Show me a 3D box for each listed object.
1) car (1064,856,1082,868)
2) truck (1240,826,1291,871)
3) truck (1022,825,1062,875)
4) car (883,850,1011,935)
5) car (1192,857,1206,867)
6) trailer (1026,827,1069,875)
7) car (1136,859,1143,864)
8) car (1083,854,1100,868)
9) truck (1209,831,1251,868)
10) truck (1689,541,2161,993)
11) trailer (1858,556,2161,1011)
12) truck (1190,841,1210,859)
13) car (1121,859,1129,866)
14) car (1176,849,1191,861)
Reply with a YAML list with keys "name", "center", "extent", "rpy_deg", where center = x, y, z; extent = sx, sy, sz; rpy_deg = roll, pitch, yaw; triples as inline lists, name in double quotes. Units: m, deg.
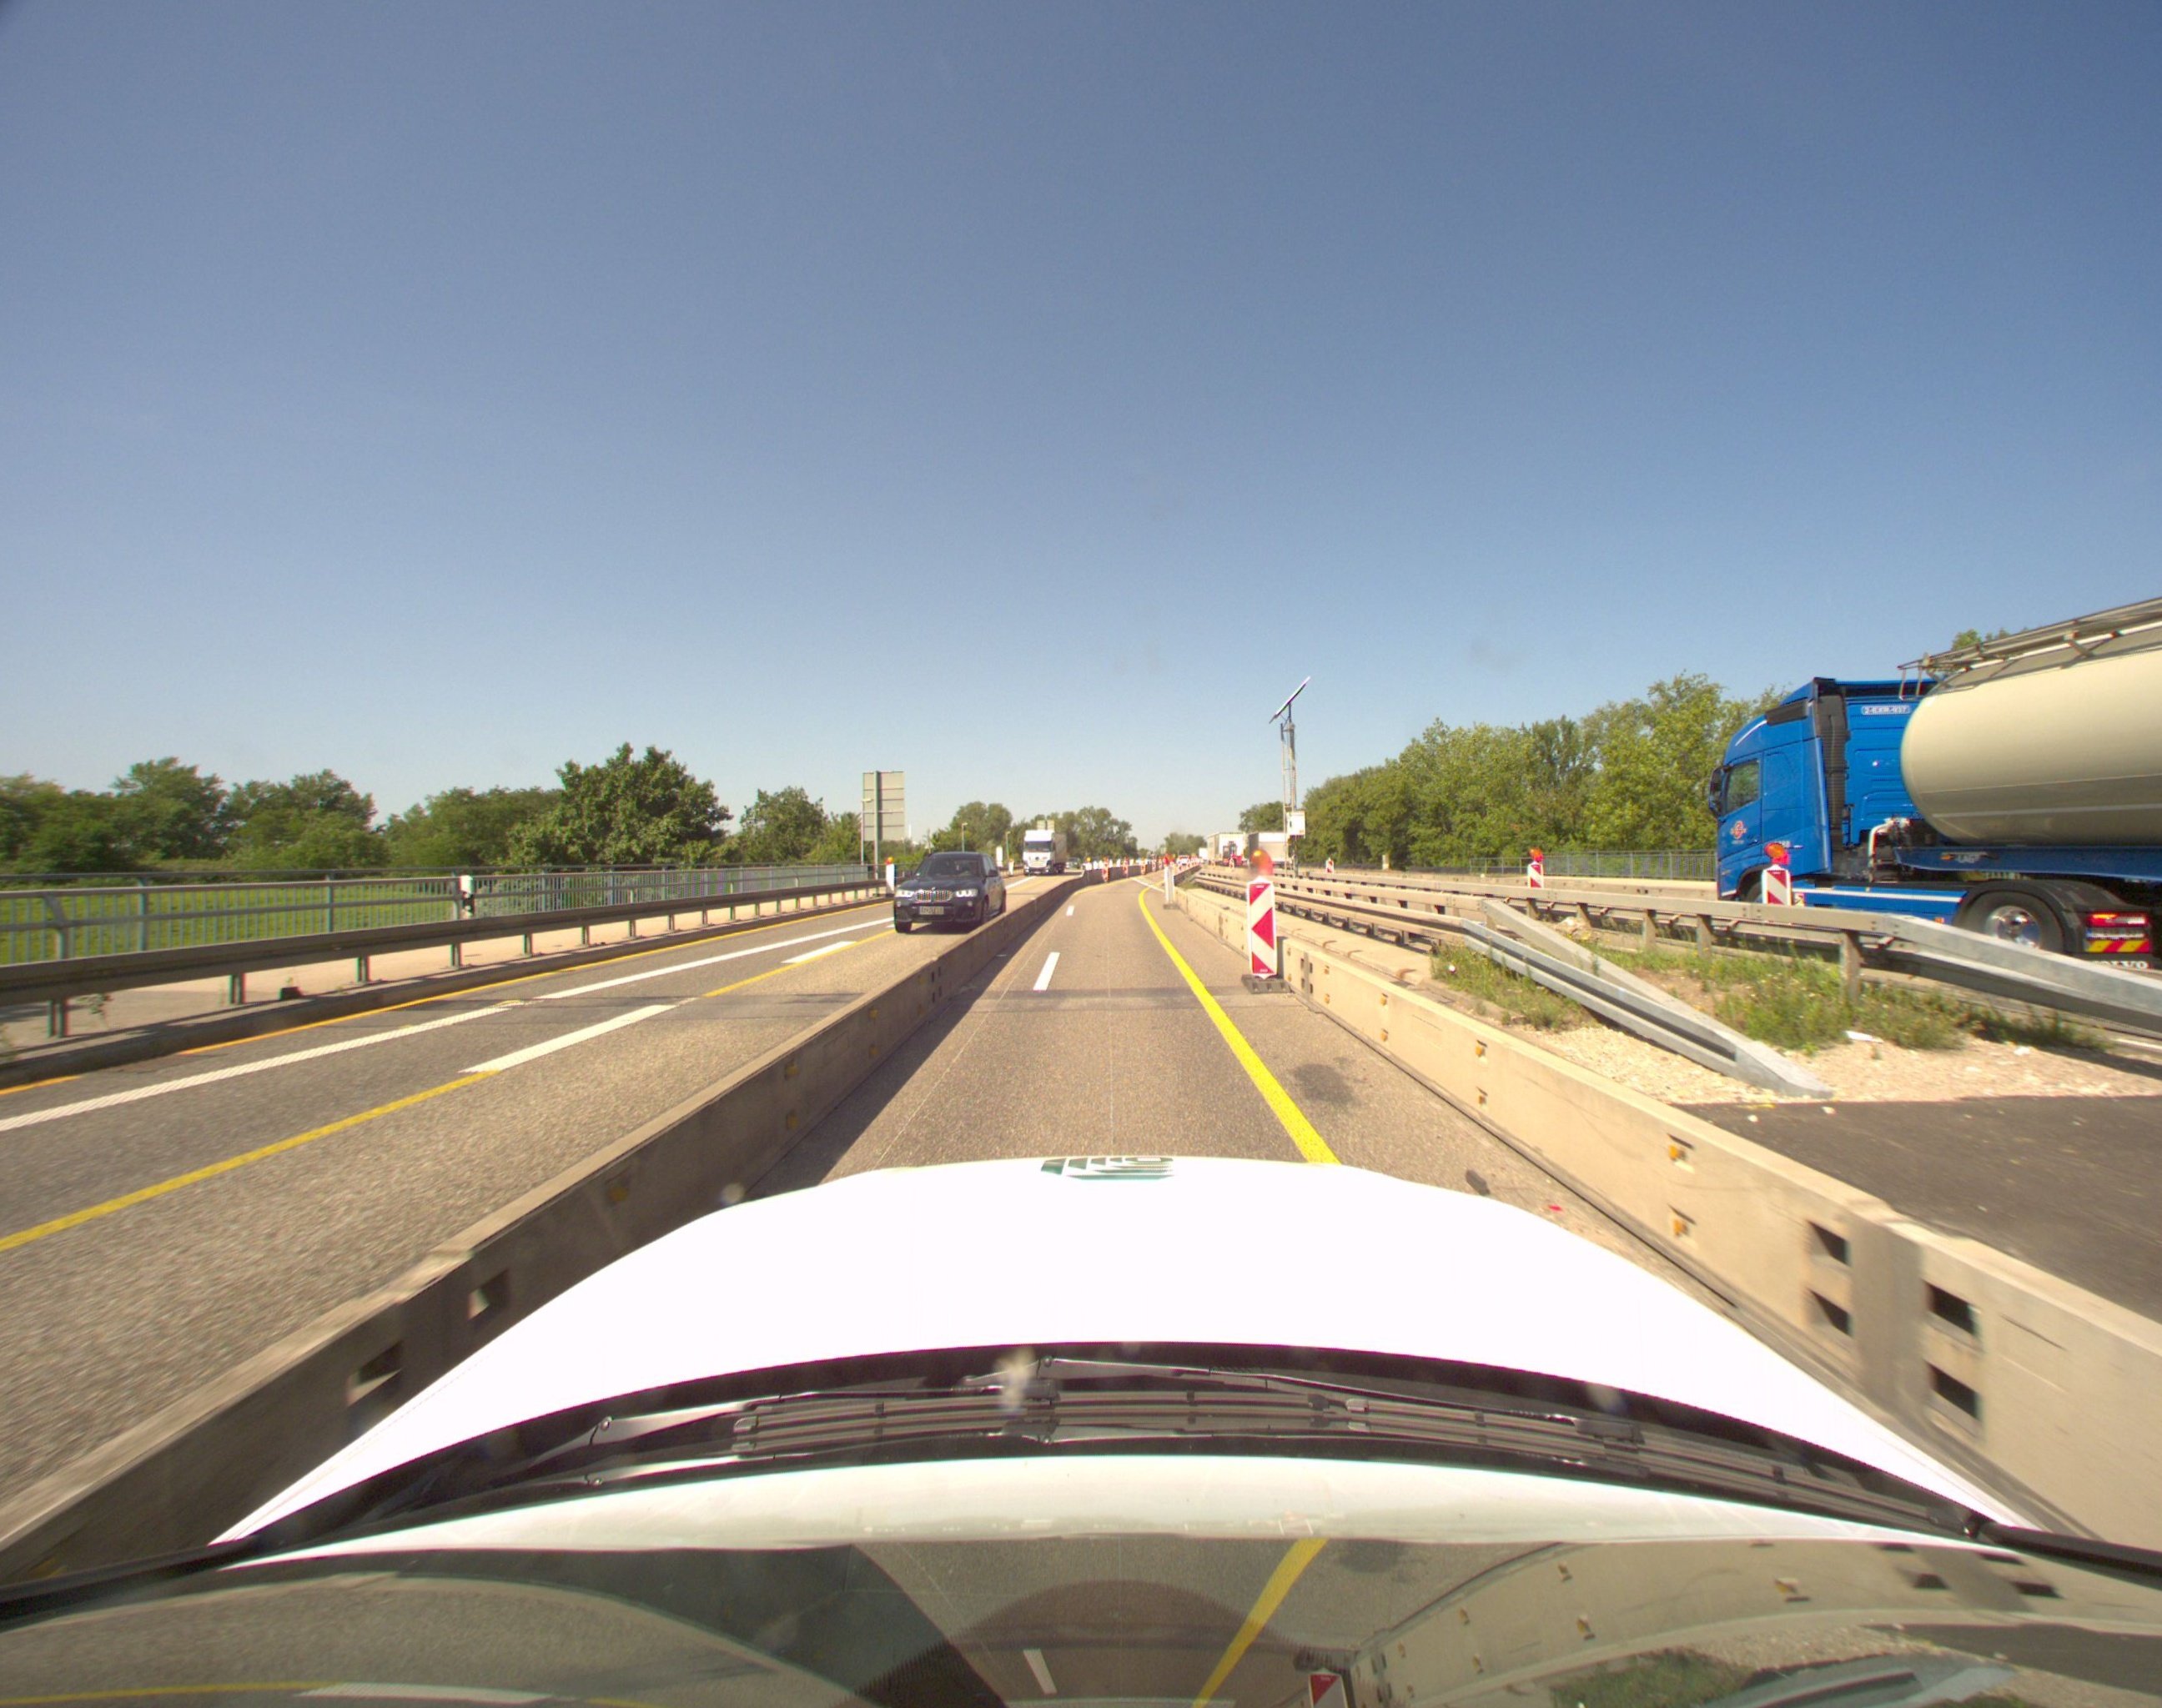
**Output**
- name: "car"
  center: [-1.072, 1.047, 109.116]
  extent: [1.923, 1.508, 4.475]
  rpy_deg: [-1, 0, 5]
- name: "truck"
  center: [14.824, -0.425, 65.945]
  extent: [2.624, 3.427, 7.237]
  rpy_deg: [-2, 0, 2]
- name: "truck"
  center: [-3.371, -0.291, 71.629]
  extent: [2.738, 4.136, 6.420]
  rpy_deg: [-2, -1, 3]
- name: "car"
  center: [-2.799, 0.748, 18.125]
  extent: [1.855, 1.632, 4.569]
  rpy_deg: [-1, 0, 3]
- name: "car"
  center: [21.208, 1.408, 146.197]
  extent: [1.986, 1.776, 4.002]
  rpy_deg: [-2, -1, 2]
- name: "trailer"
  center: [-3.054, -0.230, 78.356]
  extent: [2.750, 4.136, 14.539]
  rpy_deg: [-2, 0, 2]
- name: "car"
  center: [15.594, 1.933, 216.643]
  extent: [1.710, 1.397, 4.527]
  rpy_deg: [0, 0, 6]
- name: "car"
  center: [1.232, 0.795, 91.518]
  extent: [1.783, 1.568, 3.874]
  rpy_deg: [-1, 0, 2]
- name: "truck"
  center: [16.039, -0.459, 88.325]
  extent: [3.375, 3.774, 7.236]
  rpy_deg: [-2, -1, 2]
- name: "truck"
  center: [11.654, -0.807, 10.638]
  extent: [2.679, 4.102, 7.317]
  rpy_deg: [-2, -1, 8]
- name: "trailer"
  center: [10.777, -0.684, 4.261]
  extent: [2.679, 4.137, 12.641]
  rpy_deg: [-2, 0, 8]
- name: "truck"
  center: [30.571, -0.949, 209.124]
  extent: [4.201, 4.267, 10.252]
  rpy_deg: [-2, -1, 4]
- name: "car"
  center: [10.334, 2.066, 192.805]
  extent: [1.729, 1.476, 4.651]
  rpy_deg: [-1, 0, 5]
- name: "car"
  center: [14.917, 0.166, 118.593]
  extent: [1.809, 1.776, 4.002]
  rpy_deg: [-2, -1, 2]
